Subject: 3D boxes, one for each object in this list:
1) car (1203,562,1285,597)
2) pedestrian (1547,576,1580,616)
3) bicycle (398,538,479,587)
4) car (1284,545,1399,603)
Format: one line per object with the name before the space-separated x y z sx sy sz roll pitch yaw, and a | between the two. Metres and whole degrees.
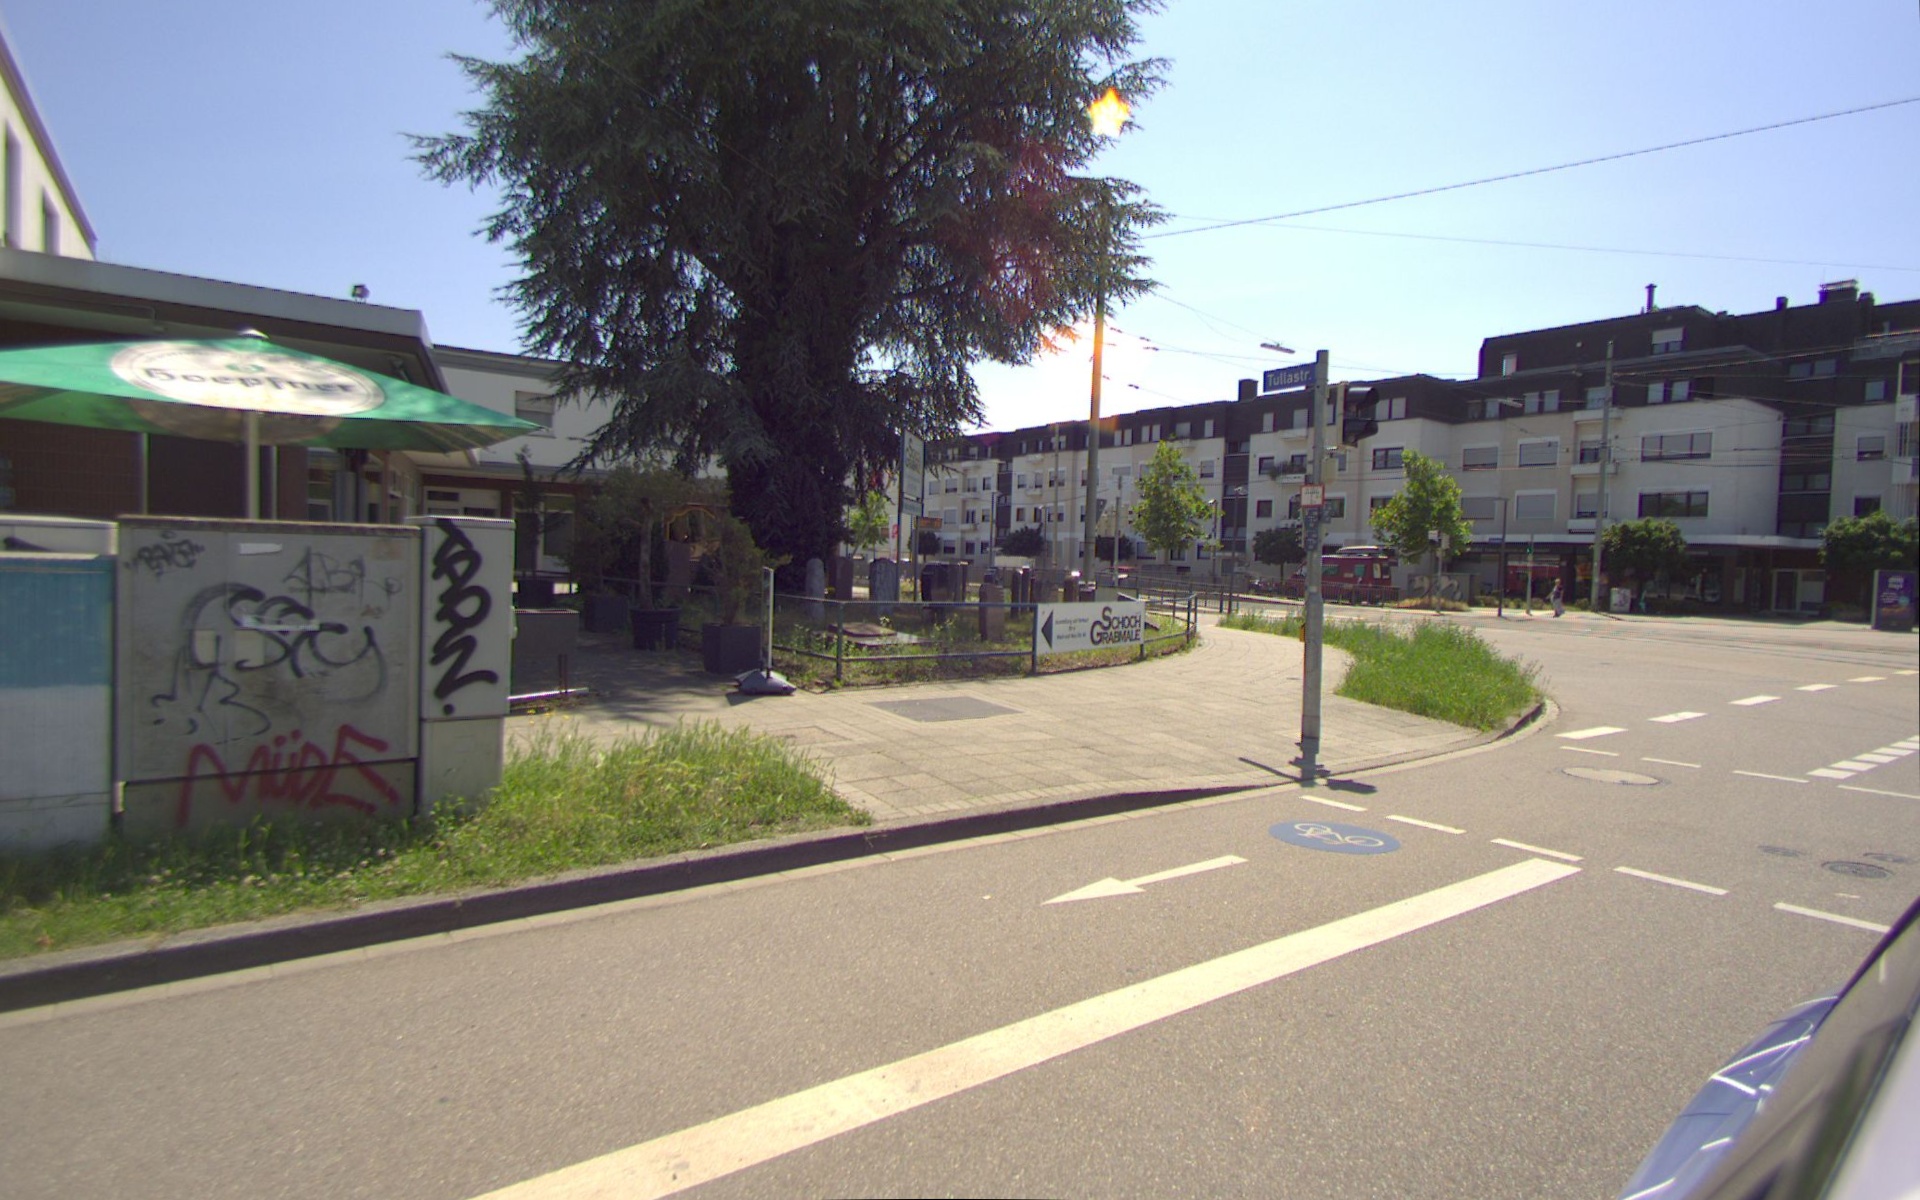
car | 15.885 -1.170 56.788 1.964 1.771 3.999 0 3 -38
pedestrian | 25.404 -0.170 42.593 0.924 1.645 0.809 1 2 -30
bicycle | -12.715 -0.900 24.696 1.719 1.129 0.545 1 2 -28
car | 19.492 -1.367 51.948 1.964 2.761 5.206 1 2 -37
